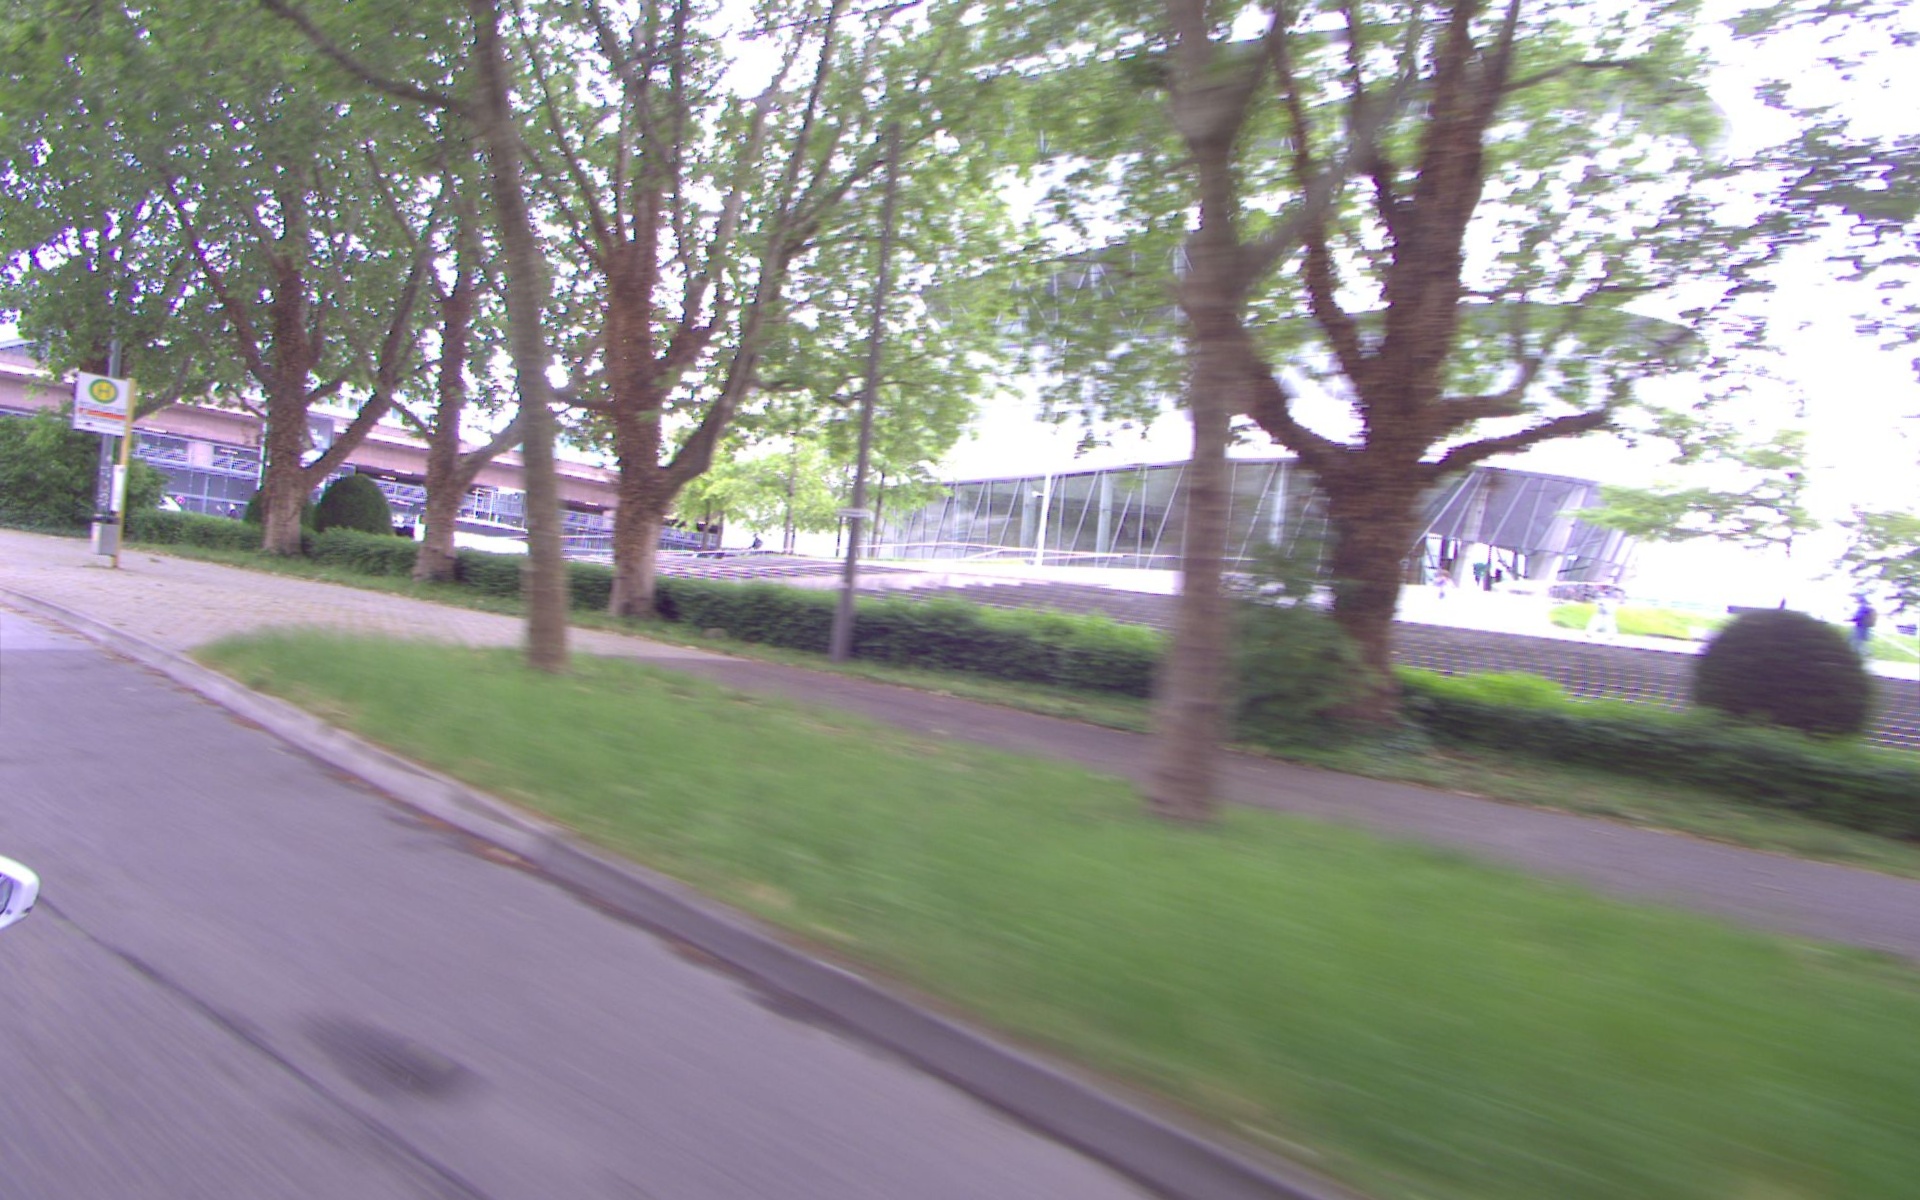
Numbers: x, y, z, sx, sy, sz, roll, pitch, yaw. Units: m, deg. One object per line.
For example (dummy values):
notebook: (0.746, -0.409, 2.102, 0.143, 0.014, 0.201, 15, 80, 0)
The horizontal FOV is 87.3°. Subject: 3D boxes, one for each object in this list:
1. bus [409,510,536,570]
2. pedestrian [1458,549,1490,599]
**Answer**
bus: (-45.042, -5.459, 93.533, 2.709, 3.981, 11.079, 7, -1, 25)
pedestrian: (19.934, -1.009, 39.020, 0.831, 1.786, 0.673, 7, 0, -43)
